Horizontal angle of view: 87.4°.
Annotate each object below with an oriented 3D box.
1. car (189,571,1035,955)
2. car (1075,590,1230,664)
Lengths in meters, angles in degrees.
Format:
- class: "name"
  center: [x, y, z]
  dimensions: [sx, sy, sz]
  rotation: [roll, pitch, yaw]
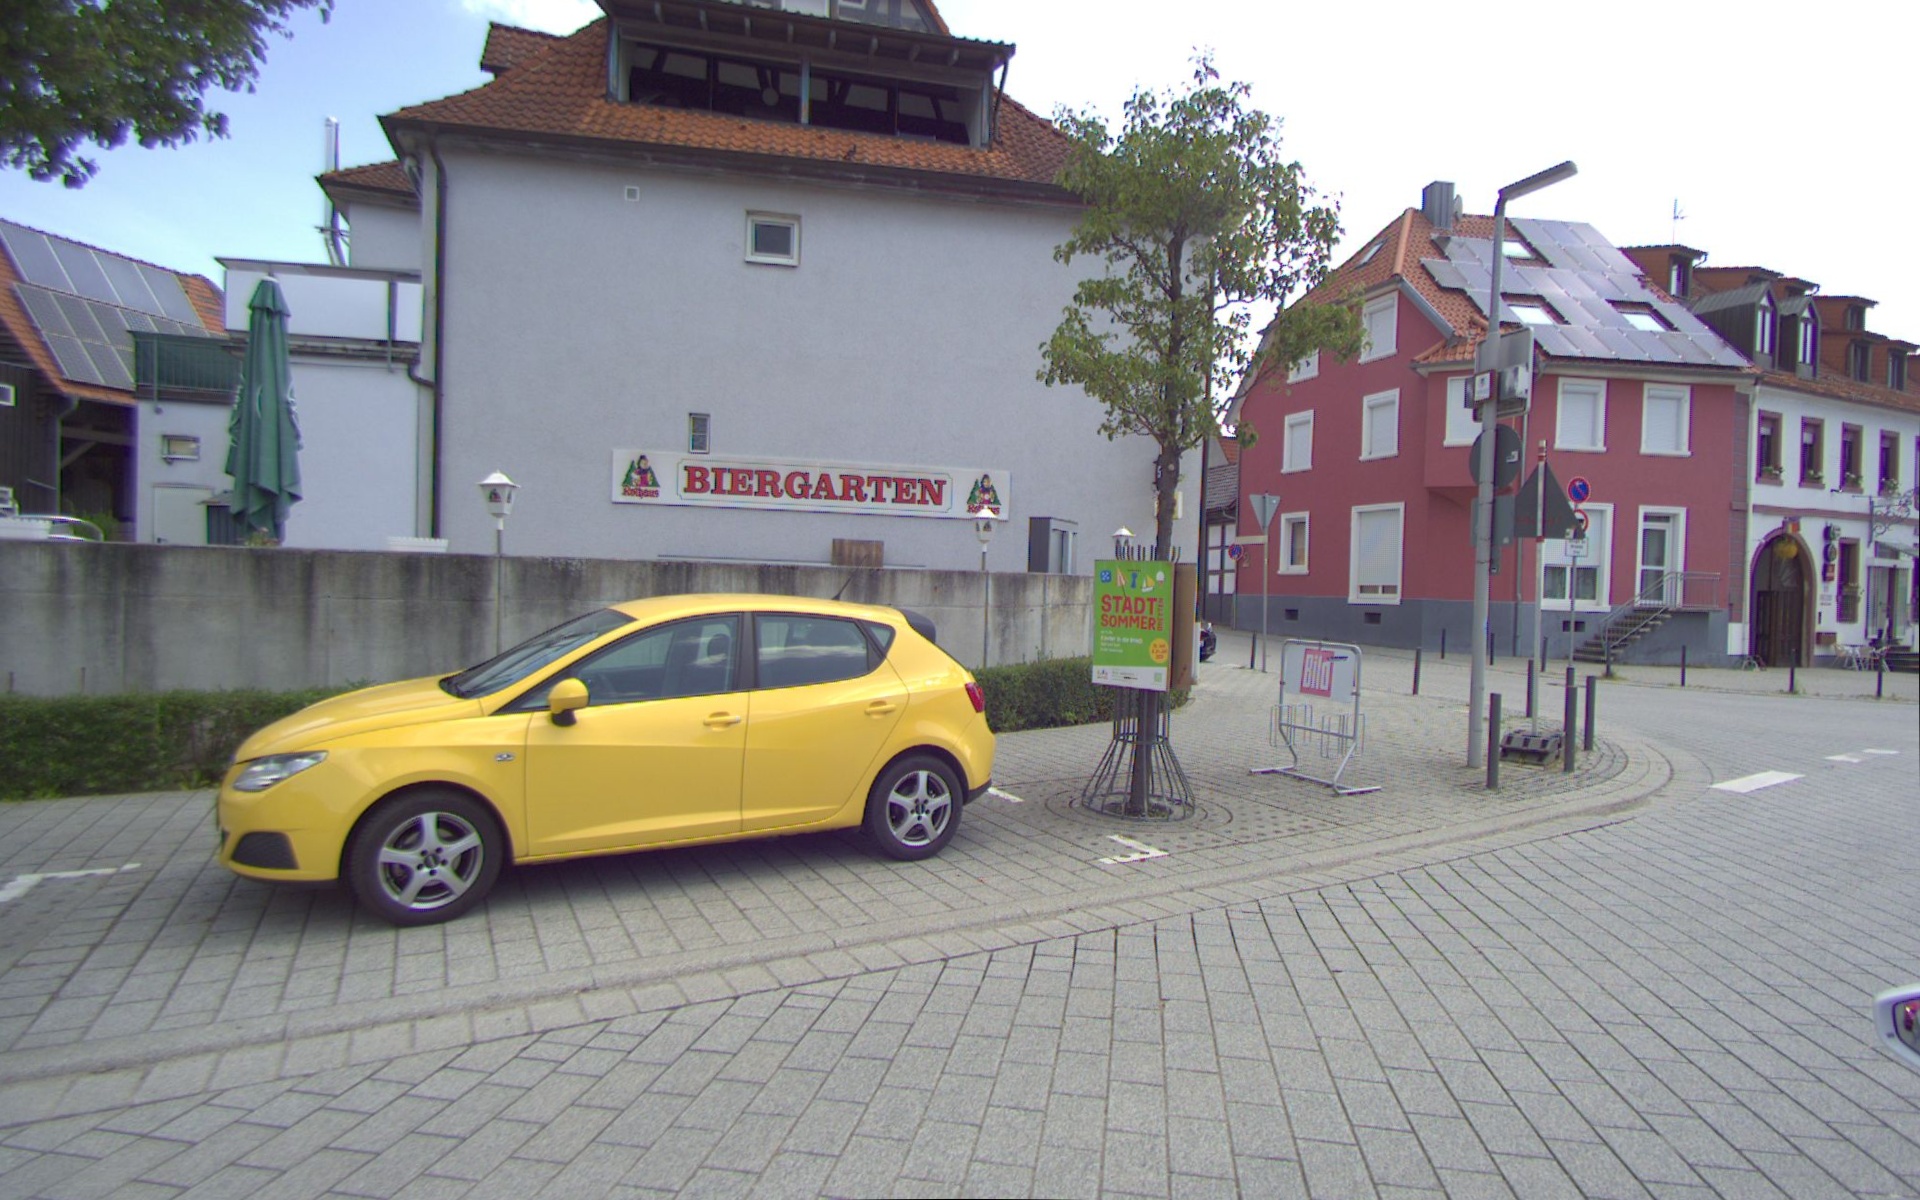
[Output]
- class: "car"
  center: [-1.674, 0.656, 5.594]
  dimensions: [3.915, 1.494, 1.661]
  rotation: [1, 0, -29]
- class: "car"
  center: [4.351, 0.570, 23.311]
  dimensions: [1.747, 1.538, 3.935]
  rotation: [1, 1, -20]
